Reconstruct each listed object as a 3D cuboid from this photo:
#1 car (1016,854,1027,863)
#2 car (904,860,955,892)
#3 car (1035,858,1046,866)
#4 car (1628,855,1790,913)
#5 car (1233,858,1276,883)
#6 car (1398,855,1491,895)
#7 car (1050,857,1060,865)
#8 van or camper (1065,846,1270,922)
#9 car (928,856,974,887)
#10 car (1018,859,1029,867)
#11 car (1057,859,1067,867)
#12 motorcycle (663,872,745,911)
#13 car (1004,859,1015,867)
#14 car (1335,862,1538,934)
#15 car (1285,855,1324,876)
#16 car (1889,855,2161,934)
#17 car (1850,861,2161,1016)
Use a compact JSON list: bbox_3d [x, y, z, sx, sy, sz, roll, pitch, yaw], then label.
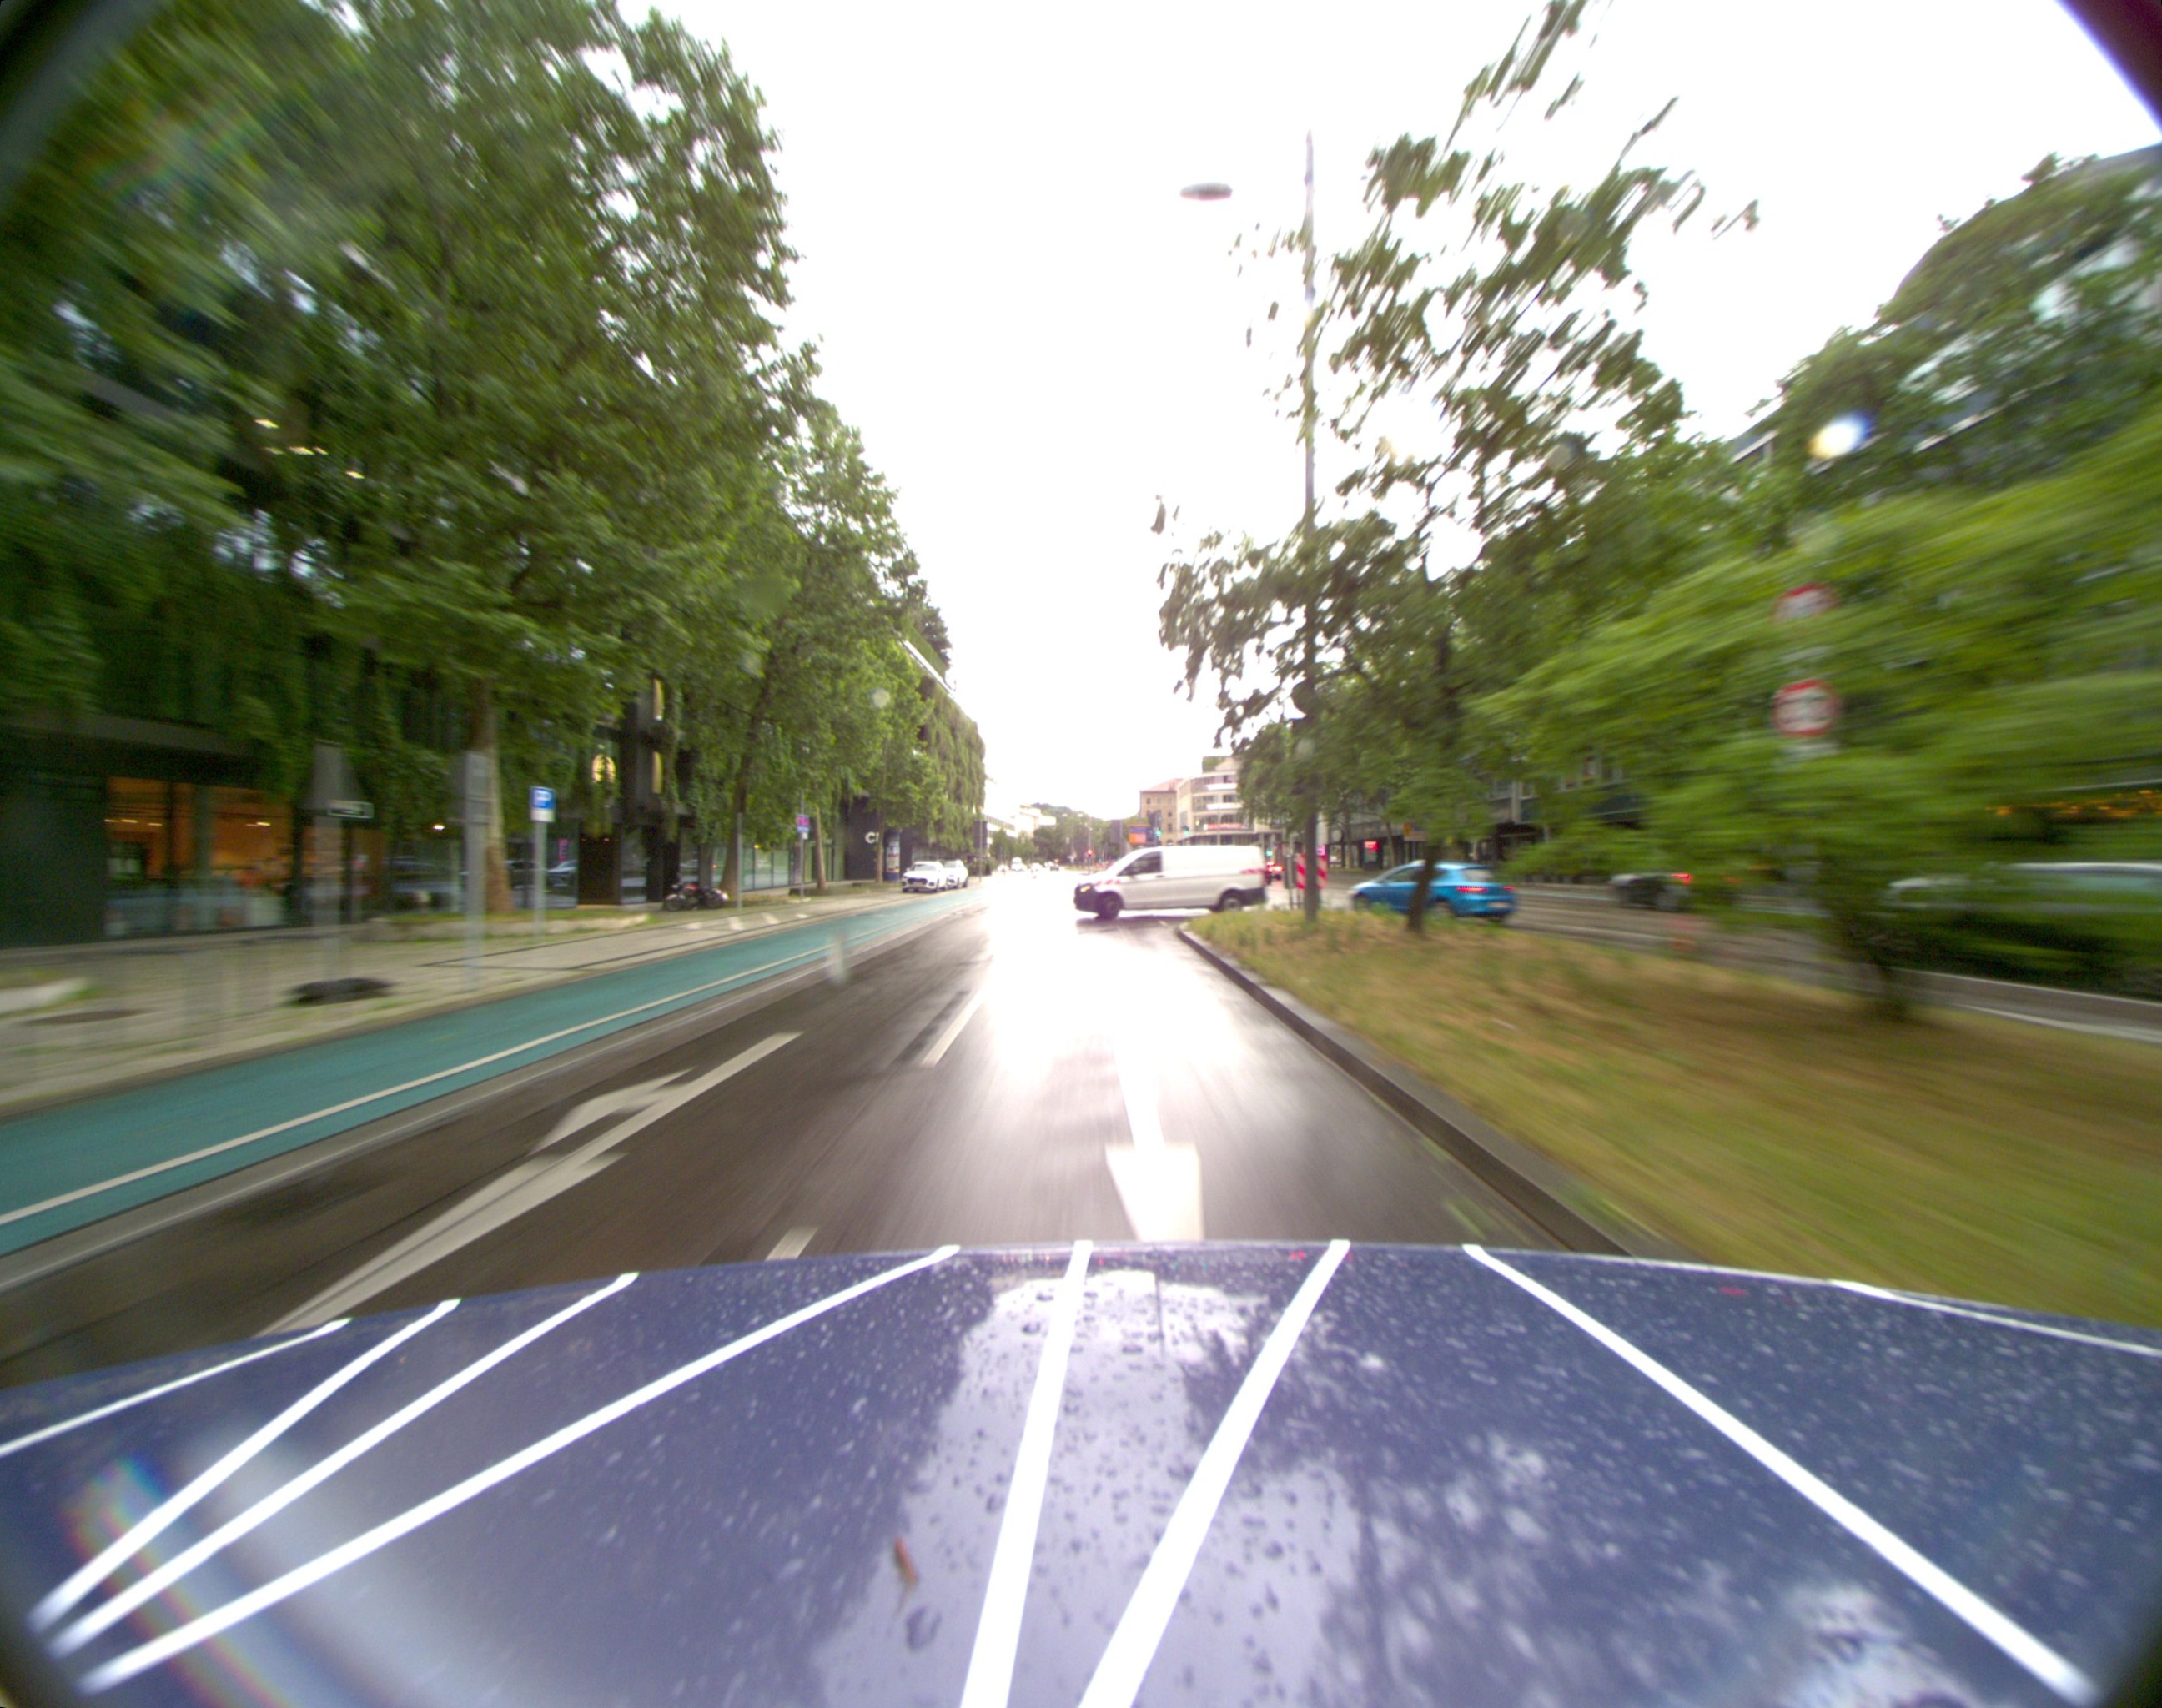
[{"bbox_3d":[-12.544,0.951,159.478,1.998,2.001,4.000,-1,-1,0],"label":"car"},{"bbox_3d":[-8.310,1.170,41.955,1.848,1.623,4.786,-1,-1,0],"label":"car"},{"bbox_3d":[-8.001,1.581,149.939,1.979,1.543,4.671,0,0,0],"label":"car"},{"bbox_3d":[16.262,0.762,19.862,1.723,1.359,3.048,-2,-1,2],"label":"car"},{"bbox_3d":[10.825,1.004,47.653,1.754,1.467,4.096,-1,0,1],"label":"car"},{"bbox_3d":[14.378,0.778,30.299,1.754,1.467,4.096,-1,0,1],"label":"car"},{"bbox_3d":[-5.018,1.359,145.958,1.739,1.543,4.671,0,0,0],"label":"car"},{"bbox_3d":[2.212,0.779,20.500,5.248,1.902,2.000,-1,0,-2],"label":"van or camper"},{"bbox_3d":[-8.131,1.060,48.015,1.848,1.827,5.095,1,-1,2],"label":"car"},{"bbox_3d":[-11.253,1.688,149.702,1.739,1.543,4.671,0,0,0],"label":"car"},{"bbox_3d":[-3.677,1.817,150.671,1.739,1.543,4.671,0,0,1],"label":"car"},{"bbox_3d":[-13.230,1.306,26.698,2.313,1.263,1.052,-2,0,-1],"label":"motorcycle"},{"bbox_3d":[-13.866,1.672,147.735,1.739,1.543,4.671,0,0,0],"label":"car"},{"bbox_3d":[8.368,0.995,18.379,1.851,1.473,4.390,-1,-1,-20],"label":"car"},{"bbox_3d":[17.191,0.832,58.626,1.757,1.556,4.000,-1,0,-1],"label":"car"},{"bbox_3d":[19.509,0.720,15.261,1.563,1.345,4.683,-2,-1,0],"label":"car"},{"bbox_3d":[11.823,0.881,8.740,1.753,1.467,4.095,-2,1,-1],"label":"car"}]
